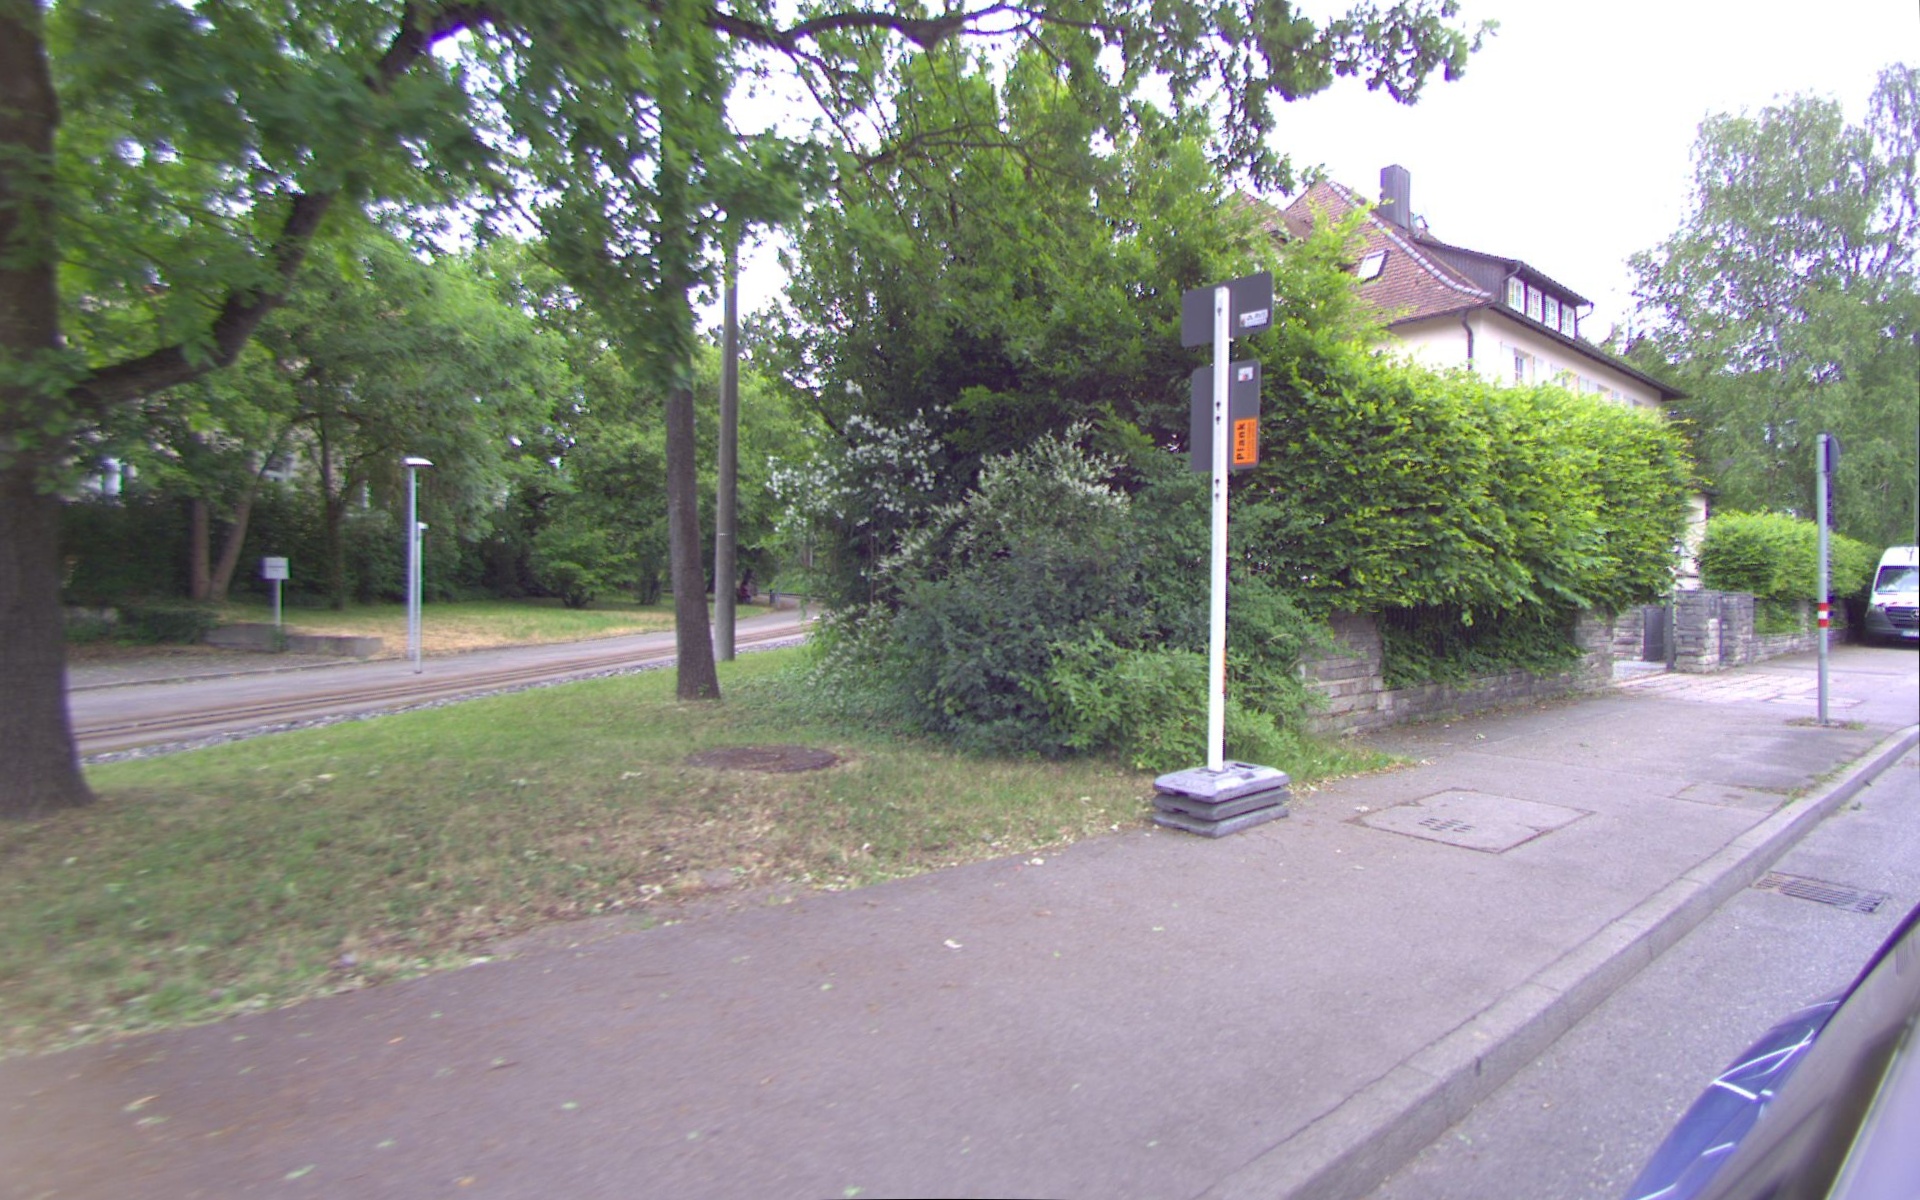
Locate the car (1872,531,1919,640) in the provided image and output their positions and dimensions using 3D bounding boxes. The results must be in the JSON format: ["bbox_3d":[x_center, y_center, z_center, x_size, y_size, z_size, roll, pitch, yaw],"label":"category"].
[{"bbox_3d":[25.848,-0.401,26.708,6.570,2.637,2.092,-1,2,-43],"label":"car"}]
